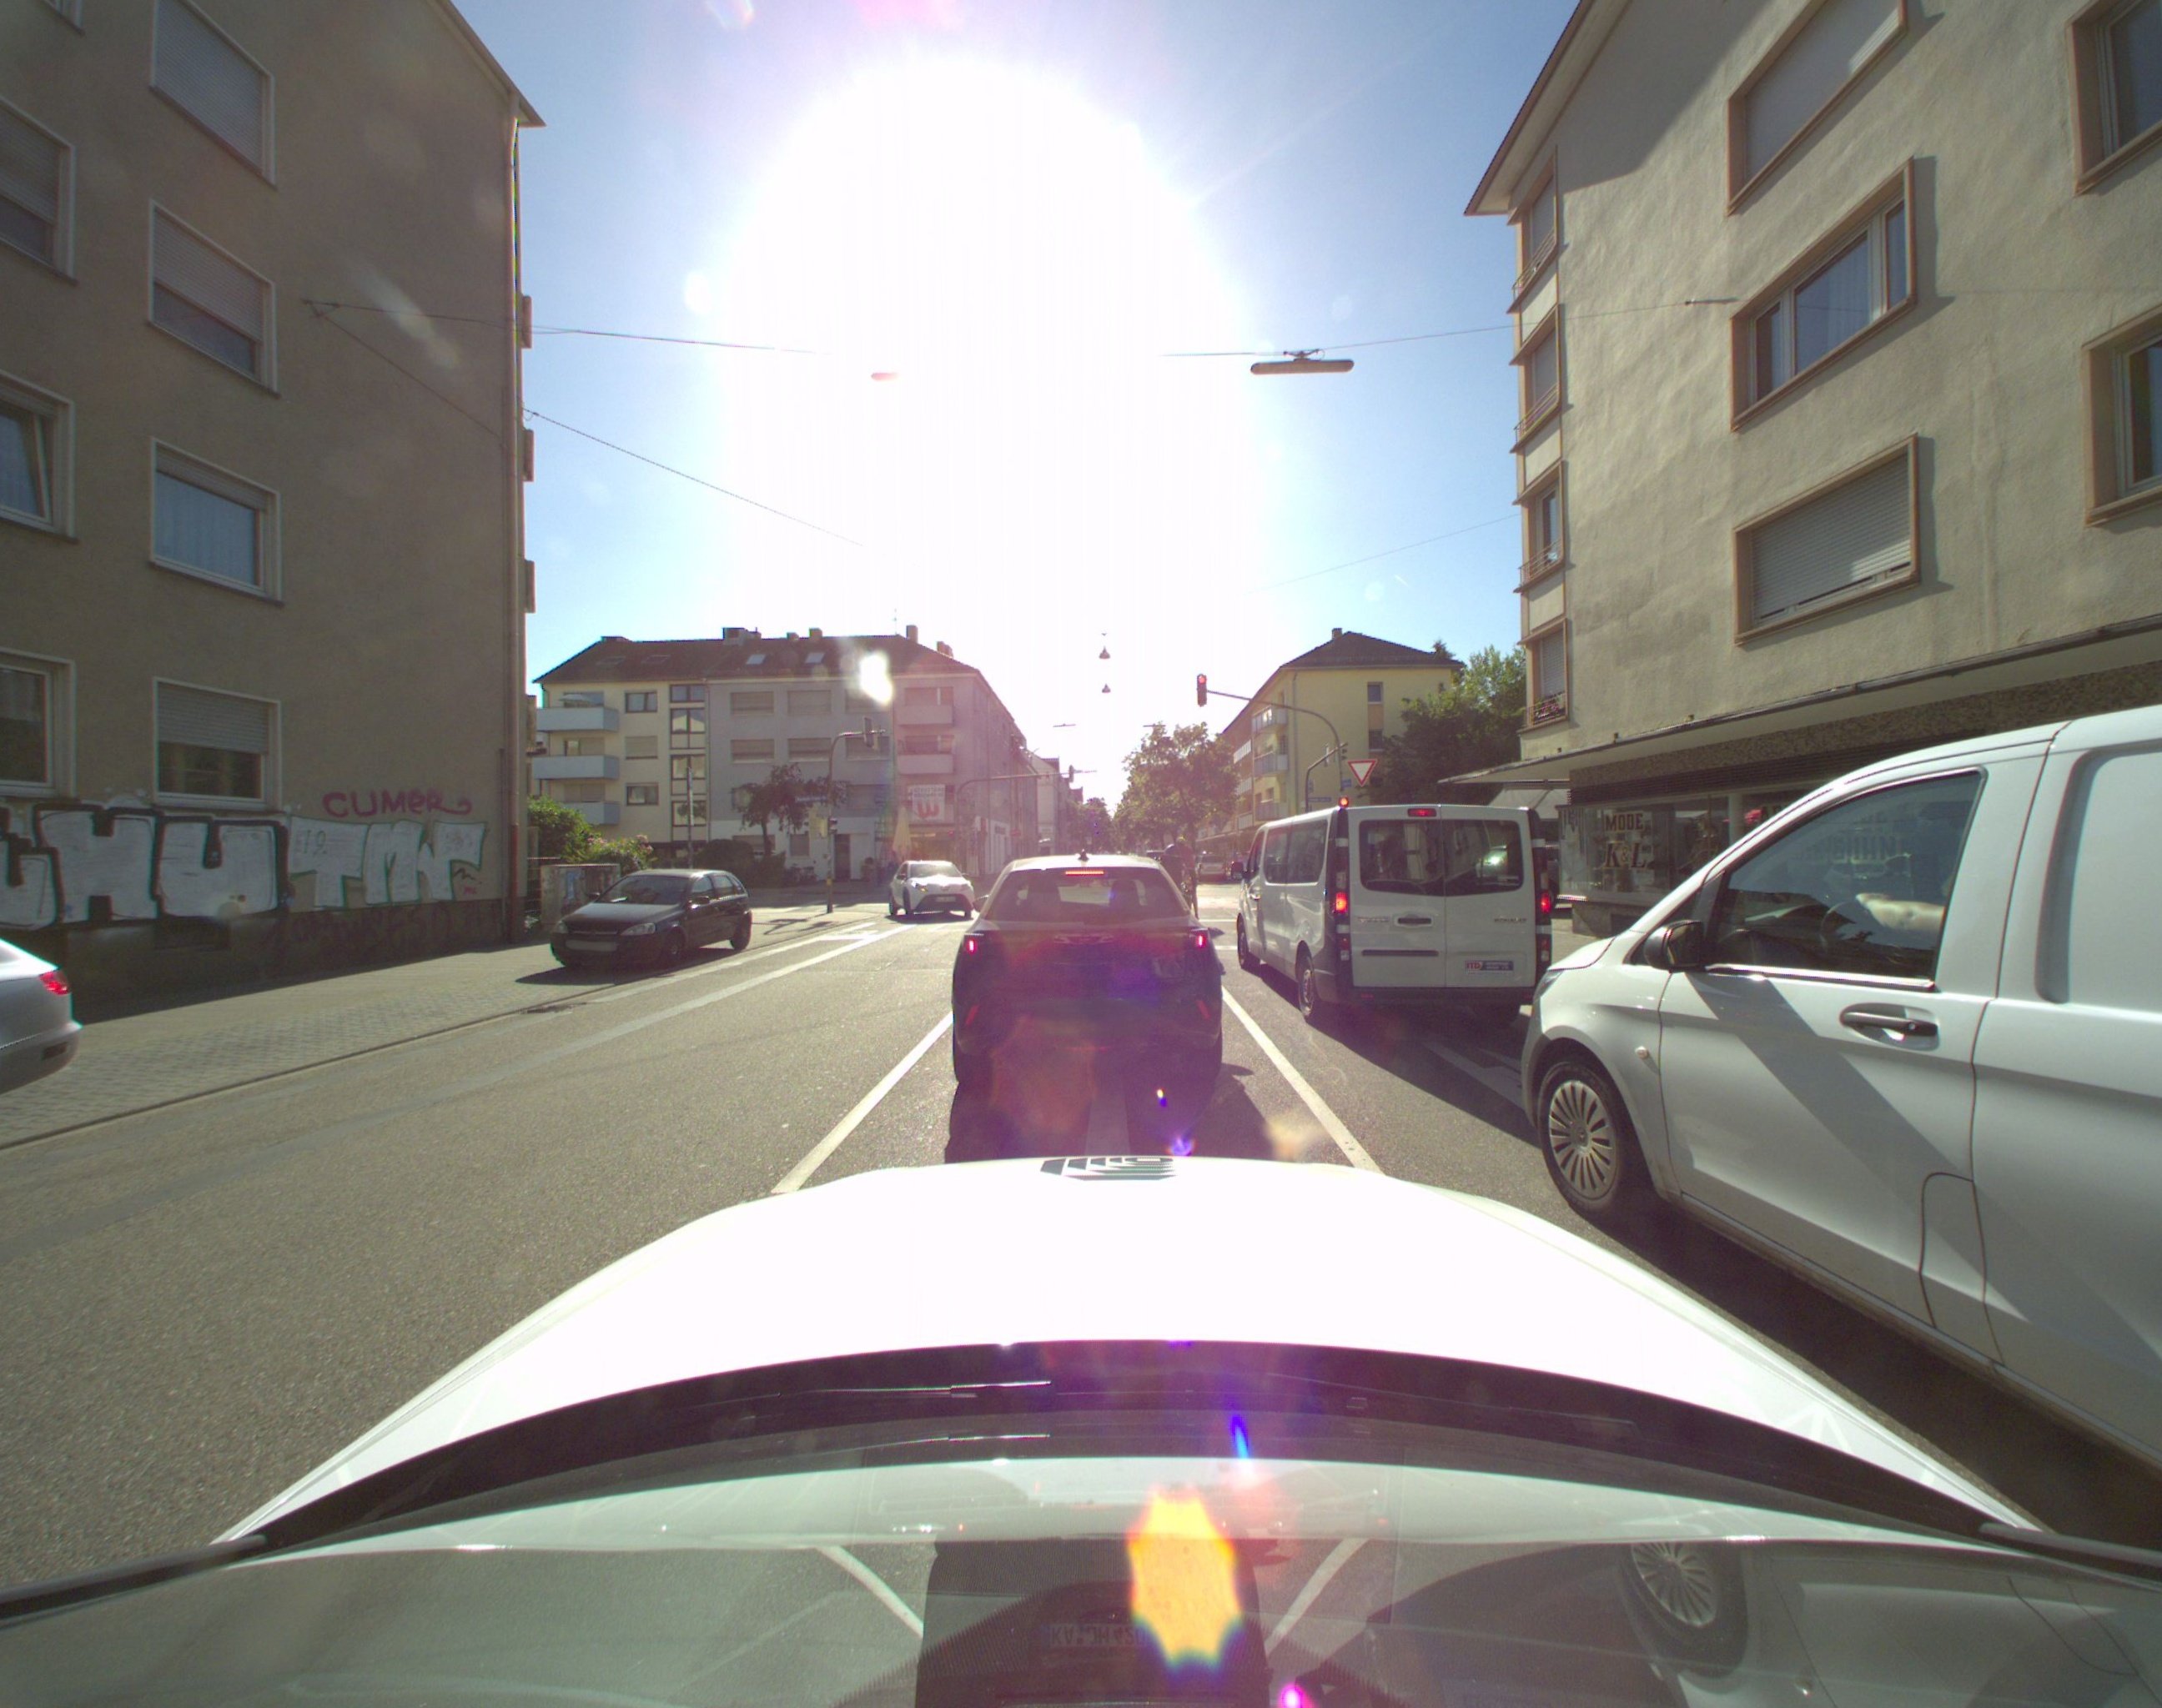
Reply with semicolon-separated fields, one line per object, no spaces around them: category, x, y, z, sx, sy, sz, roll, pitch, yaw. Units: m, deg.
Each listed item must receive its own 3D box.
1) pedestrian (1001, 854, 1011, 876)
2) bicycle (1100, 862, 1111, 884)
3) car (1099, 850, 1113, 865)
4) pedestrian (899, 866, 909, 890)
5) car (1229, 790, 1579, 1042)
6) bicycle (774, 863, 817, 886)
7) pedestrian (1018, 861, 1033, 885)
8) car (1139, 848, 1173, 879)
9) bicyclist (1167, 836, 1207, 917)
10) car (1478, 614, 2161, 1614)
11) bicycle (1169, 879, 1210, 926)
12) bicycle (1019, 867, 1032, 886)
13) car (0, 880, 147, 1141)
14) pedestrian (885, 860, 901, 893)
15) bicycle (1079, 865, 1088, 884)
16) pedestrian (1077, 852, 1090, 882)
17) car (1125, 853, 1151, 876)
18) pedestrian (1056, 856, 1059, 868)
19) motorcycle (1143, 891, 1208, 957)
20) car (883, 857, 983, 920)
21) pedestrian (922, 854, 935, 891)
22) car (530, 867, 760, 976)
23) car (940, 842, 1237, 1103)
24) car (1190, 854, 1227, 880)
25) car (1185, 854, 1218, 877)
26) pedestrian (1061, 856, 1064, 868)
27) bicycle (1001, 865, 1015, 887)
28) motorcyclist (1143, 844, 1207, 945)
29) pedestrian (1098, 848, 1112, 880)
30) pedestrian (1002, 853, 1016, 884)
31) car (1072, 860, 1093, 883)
pedestrian;-5.098;0.748;55.357;0.615;1.521;0.724;-1;0;-1
bicycle;1.297;1.030;44.234;0.520;1.147;2.170;-1;0;0
car;3.340;0.470;109.770;1.848;2.013;3.882;-1;0;2
pedestrian;-8.306;1.115;38.290;0.354;1.092;0.461;-1;0;-1
car;3.007;0.491;8.897;1.986;1.979;4.896;0;0;1
bicycle;-15.310;1.070;43.650;2.103;1.172;0.735;-1;0;-22
pedestrian;-3.011;1.012;44.246;0.704;1.253;0.802;-1;0;0
car;4.373;0.521;48.039;1.894;1.728;4.077;-1;0;4
bicyclist;2.325;0.474;17.995;0.687;1.712;1.414;-1;0;0
car;2.925;0.474;1.640;1.830;1.869;4.996;-1;0;0
bicycle;2.374;1.047;18.039;0.575;0.904;2.301;-1;0;0
bicycle;-3.006;1.221;44.550;0.520;0.992;2.339;-1;0;0
car;-7.117;0.909;2.992;1.711;1.465;4.817;1;0;1
pedestrian;-8.845;1.062;38.248;0.582;1.521;0.649;-1;0;-1
bicycle;0.141;1.100;44.551;0.442;0.992;2.068;-1;0;0
pedestrian;0.125;0.724;44.298;0.678;1.606;0.762;-1;0;0
car;4.481;0.792;64.338;1.894;1.728;4.003;-1;0;2
pedestrian;-3.263;1.059;112.641;0.400;1.675;0.418;-1;0;1
motorcycle;1.432;1.053;12.709;0.822;0.845;1.885;-1;0;1
car;-4.109;0.869;22.153;1.774;1.536;3.754;-1;0;-25
pedestrian;-7.279;0.869;38.892;0.560;1.775;0.582;-1;0;-7
car;-6.786;0.961;13.168;1.610;1.425;3.711;1;0;1
car;0.054;0.715;6.919;1.765;1.530;3.999;-1;0;0
car;7.414;0.749;47.587;1.628;1.433;3.958;-1;0;2
car;7.688;0.715;52.344;1.628;1.433;4.002;-1;0;2
pedestrian;-2.512;1.052;112.265;0.400;1.675;0.418;-1;0;1
bicycle;-3.973;1.167;44.585;0.520;1.147;2.283;-1;0;0
motorcyclist;1.457;0.604;12.777;0.861;1.502;1.160;-1;0;1
pedestrian;1.290;0.532;44.087;0.704;1.701;0.802;-1;0;0
pedestrian;-3.911;0.786;44.320;0.704;1.678;0.802;-1;0;0
car;0.176;1.599;76.840;1.842;2.013;4.001;-1;0;1
